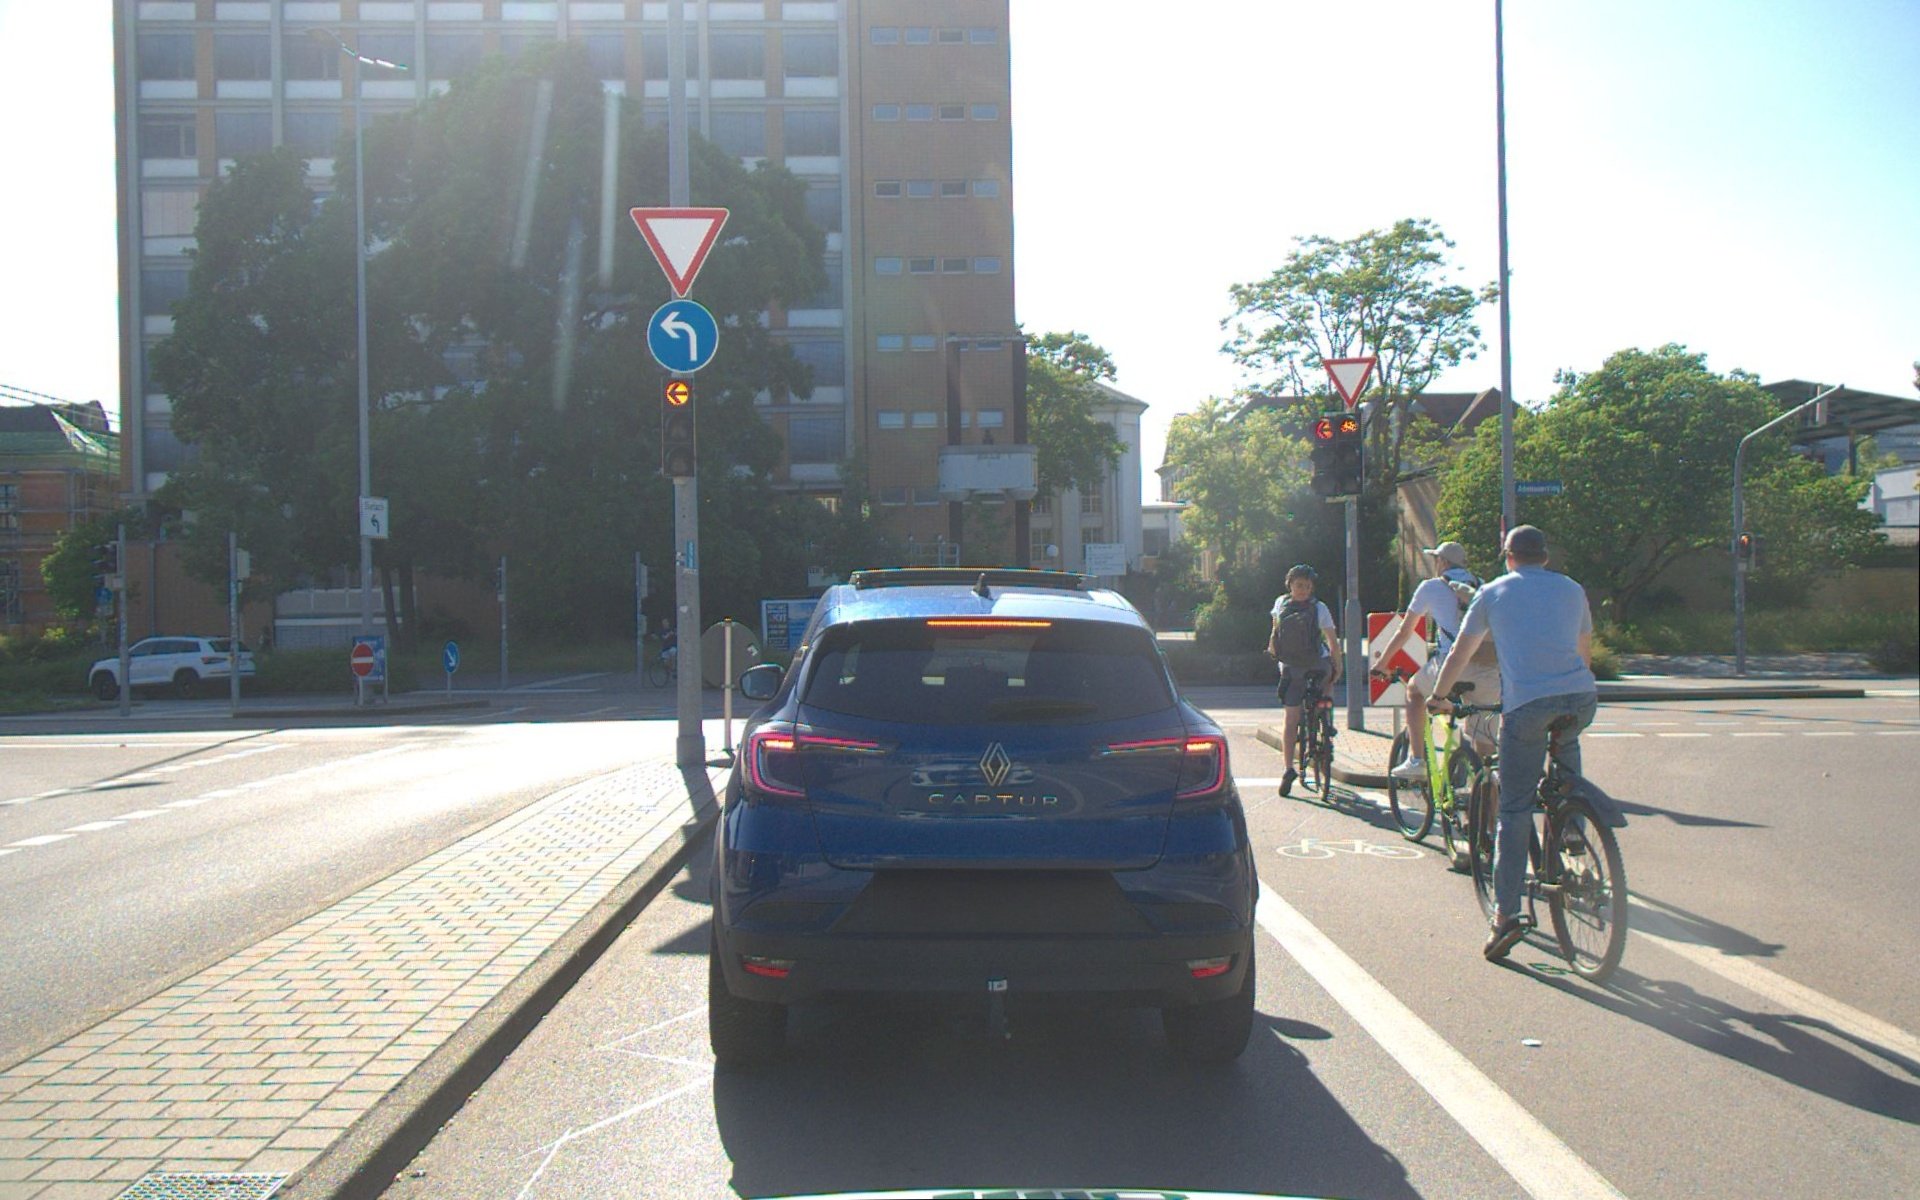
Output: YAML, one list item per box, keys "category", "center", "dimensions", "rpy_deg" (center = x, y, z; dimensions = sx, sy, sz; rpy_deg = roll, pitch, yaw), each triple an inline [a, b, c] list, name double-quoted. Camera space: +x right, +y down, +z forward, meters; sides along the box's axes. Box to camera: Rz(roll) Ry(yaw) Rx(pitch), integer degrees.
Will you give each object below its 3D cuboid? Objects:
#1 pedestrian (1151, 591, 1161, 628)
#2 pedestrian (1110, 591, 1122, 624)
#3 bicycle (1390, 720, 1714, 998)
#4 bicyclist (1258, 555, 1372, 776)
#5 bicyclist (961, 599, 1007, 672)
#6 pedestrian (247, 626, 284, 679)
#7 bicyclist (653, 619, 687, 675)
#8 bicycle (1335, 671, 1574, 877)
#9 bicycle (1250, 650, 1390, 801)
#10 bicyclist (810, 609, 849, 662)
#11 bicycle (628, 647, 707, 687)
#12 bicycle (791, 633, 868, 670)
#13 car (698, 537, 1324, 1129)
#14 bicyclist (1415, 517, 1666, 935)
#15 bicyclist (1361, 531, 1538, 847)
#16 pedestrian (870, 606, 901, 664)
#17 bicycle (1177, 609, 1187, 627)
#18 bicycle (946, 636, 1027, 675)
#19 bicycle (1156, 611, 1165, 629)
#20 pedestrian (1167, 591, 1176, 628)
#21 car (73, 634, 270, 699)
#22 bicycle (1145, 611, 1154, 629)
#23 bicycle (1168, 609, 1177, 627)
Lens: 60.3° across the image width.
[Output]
- category: "pedestrian"
  center: [10.810, 0.509, 91.204]
  dimensions: [0.465, 2.049, 0.523]
  rpy_deg: [-1, 0, 5]
- category: "pedestrian"
  center: [9.084, 0.451, 96.341]
  dimensions: [0.611, 1.888, 0.563]
  rpy_deg: [-1, 0, 1]
- category: "bicycle"
  center: [2.511, 1.056, 7.282]
  dimensions: [0.725, 0.911, 1.978]
  rpy_deg: [1, 0, 0]
- category: "bicyclist"
  center: [2.768, 0.498, 12.984]
  dimensions: [0.711, 1.657, 0.969]
  rpy_deg: [1, 0, 3]
- category: "bicyclist"
  center: [0.639, 0.941, 43.908]
  dimensions: [1.078, 1.900, 0.653]
  rpy_deg: [-1, 0, 10]
- category: "pedestrian"
  center: [-22.153, 1.678, 52.772]
  dimensions: [0.842, 1.598, 0.559]
  rpy_deg: [-4, 0, 20]
- category: "bicyclist"
  center: [-7.661, 1.236, 43.655]
  dimensions: [0.728, 1.466, 0.593]
  rpy_deg: [-1, 0, -27]
- category: "bicycle"
  center: [2.879, 0.974, 9.854]
  dimensions: [0.646, 1.020, 1.967]
  rpy_deg: [1, 0, -6]
- category: "bicycle"
  center: [2.770, 0.932, 12.932]
  dimensions: [0.723, 1.012, 2.174]
  rpy_deg: [1, 0, 3]
- category: "bicyclist"
  center: [-3.627, 0.975, 46.001]
  dimensions: [0.916, 1.454, 0.599]
  rpy_deg: [-1, 0, 12]
- category: "bicycle"
  center: [-7.709, 1.759, 43.628]
  dimensions: [1.982, 0.981, 0.593]
  rpy_deg: [-1, 0, -28]
- category: "bicycle"
  center: [-3.617, 1.425, 45.999]
  dimensions: [2.032, 0.981, 0.599]
  rpy_deg: [-1, 0, 12]
- category: "car"
  center: [0.069, 0.664, 6.691]
  dimensions: [1.767, 1.660, 3.998]
  rpy_deg: [1, 0, -3]
- category: "bicyclist"
  center: [2.516, 0.516, 7.279]
  dimensions: [0.736, 1.698, 1.016]
  rpy_deg: [1, 0, 0]
- category: "bicyclist"
  center: [2.891, 0.506, 9.850]
  dimensions: [0.633, 1.769, 1.065]
  rpy_deg: [1, 0, -6]
- category: "pedestrian"
  center: [-2.106, 0.983, 46.946]
  dimensions: [0.721, 1.631, 0.599]
  rpy_deg: [-1, 0, 12]
- category: "bicycle"
  center: [12.694, 1.026, 94.598]
  dimensions: [0.397, 0.990, 1.684]
  rpy_deg: [1, 0, 3]
- category: "bicycle"
  center: [0.718, 1.475, 43.900]
  dimensions: [2.037, 0.946, 0.697]
  rpy_deg: [-2, 1, 10]
- category: "bicycle"
  center: [11.418, 1.148, 94.197]
  dimensions: [0.397, 0.990, 1.684]
  rpy_deg: [1, 0, 3]
- category: "pedestrian"
  center: [11.841, 0.533, 92.571]
  dimensions: [0.465, 2.049, 0.468]
  rpy_deg: [-1, 0, 5]
- category: "car"
  center: [-21.207, 1.783, 44.517]
  dimensions: [4.721, 1.660, 1.845]
  rpy_deg: [-1, 0, 15]
- category: "bicycle"
  center: [10.808, 1.138, 94.231]
  dimensions: [0.397, 0.990, 1.684]
  rpy_deg: [1, 0, 3]
- category: "bicycle"
  center: [12.169, 1.017, 94.576]
  dimensions: [0.397, 0.990, 1.684]
  rpy_deg: [1, 0, 3]
